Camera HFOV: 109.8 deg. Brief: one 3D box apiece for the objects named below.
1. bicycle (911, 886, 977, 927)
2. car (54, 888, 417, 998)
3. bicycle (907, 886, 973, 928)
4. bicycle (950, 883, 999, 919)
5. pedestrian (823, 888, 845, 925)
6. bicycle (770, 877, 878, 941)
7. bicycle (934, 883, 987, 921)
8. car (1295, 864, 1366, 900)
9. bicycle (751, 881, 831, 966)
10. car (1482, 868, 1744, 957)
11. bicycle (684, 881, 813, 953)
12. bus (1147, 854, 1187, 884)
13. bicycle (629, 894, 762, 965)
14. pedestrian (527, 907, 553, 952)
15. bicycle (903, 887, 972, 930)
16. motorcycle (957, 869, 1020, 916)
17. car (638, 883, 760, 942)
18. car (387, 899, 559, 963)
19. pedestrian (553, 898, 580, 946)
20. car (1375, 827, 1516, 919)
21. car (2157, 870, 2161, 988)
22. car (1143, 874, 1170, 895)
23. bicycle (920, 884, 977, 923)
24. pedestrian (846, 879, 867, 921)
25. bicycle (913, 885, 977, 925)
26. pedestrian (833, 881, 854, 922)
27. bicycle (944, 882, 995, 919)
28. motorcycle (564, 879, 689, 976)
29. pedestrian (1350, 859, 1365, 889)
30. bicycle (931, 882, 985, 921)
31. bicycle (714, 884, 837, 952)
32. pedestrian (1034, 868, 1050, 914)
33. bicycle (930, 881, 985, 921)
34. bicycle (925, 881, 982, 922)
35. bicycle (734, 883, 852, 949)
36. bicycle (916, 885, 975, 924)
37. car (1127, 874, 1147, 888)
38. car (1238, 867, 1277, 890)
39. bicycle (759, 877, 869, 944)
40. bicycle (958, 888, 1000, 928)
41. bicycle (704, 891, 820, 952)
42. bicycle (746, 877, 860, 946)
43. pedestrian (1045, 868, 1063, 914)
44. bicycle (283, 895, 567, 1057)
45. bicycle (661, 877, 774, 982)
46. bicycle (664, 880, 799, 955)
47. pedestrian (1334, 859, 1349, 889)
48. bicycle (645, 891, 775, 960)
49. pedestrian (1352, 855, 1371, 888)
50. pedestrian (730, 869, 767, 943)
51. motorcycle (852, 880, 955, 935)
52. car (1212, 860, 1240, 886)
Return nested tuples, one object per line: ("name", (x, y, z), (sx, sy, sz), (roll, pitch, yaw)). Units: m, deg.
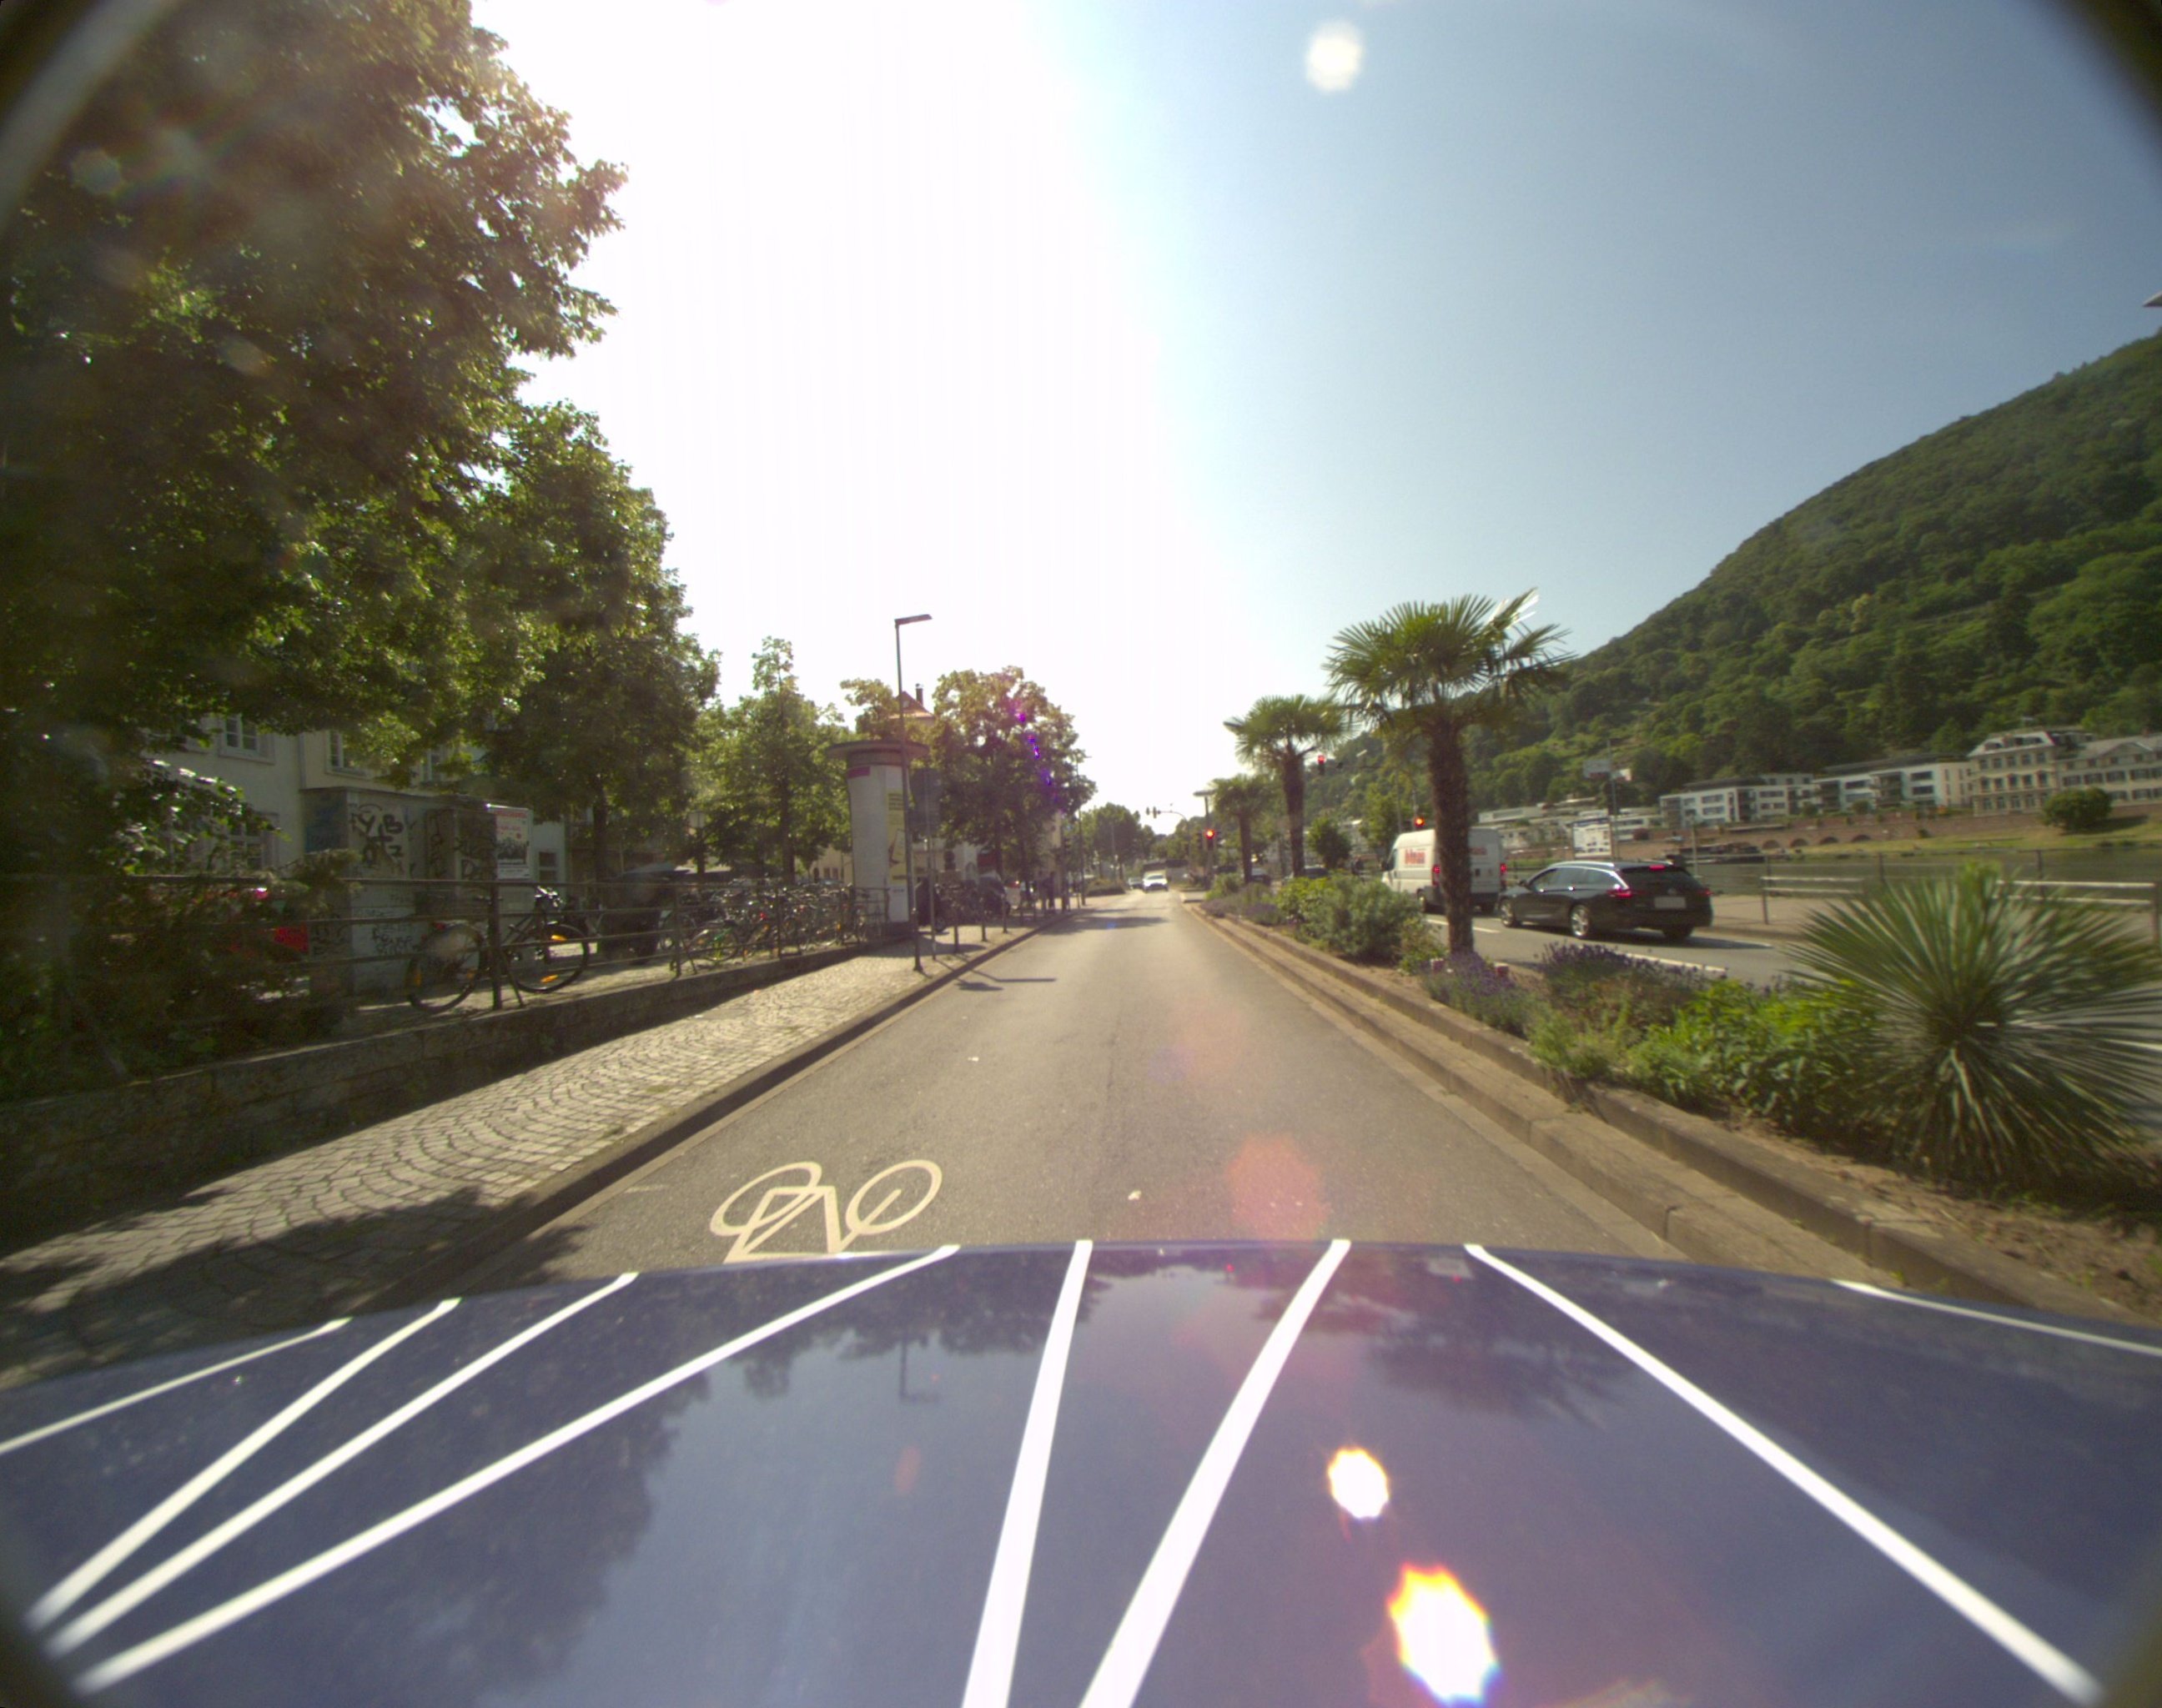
("bicycle", (-3.851, 1.461, 21.401), (1.753, 1.126, 0.464), (0, -1, -1))
("car", (-16.394, 1.627, 15.238), (1.836, 1.789, 4.739), (-2, -3, 3))
("bicycle", (-3.882, 1.464, 20.993), (1.753, 1.126, 0.464), (0, -1, -1))
("bicycle", (-3.527, 1.542, 25.116), (1.629, 1.163, 0.367), (-2, -1, 21))
("pedestrian", (-8.748, 1.859, 26.895), (0.493, 1.256, 0.580), (-2, -1, 8))
("bicycle", (-5.617, 1.195, 16.654), (2.160, 1.360, 0.584), (-1, 0, 3))
("bicycle", (-3.832, 1.522, 24.165), (1.631, 1.163, 0.350), (0, -1, -1))
("car", (11.542, 1.247, 35.460), (1.998, 1.443, 4.263), (-4, -1, 3))
("bicycle", (-4.792, 1.099, 12.700), (0.476, 1.254, 2.163), (-1, -1, 1))
("car", (10.248, 1.028, 15.258), (1.998, 1.410, 4.922), (-2, -1, 4))
("bicycle", (-6.010, 1.135, 13.756), (2.160, 1.254, 0.421), (-1, 0, 3))
("bus", (10.538, 1.892, 94.004), (2.657, 3.367, 10.791), (-2, -1, -5))
("bicycle", (-6.232, 1.210, 12.313), (1.954, 1.093, 0.423), (-1, 0, 3))
("pedestrian", (-18.616, 2.592, 26.136), (0.425, 1.467, 0.615), (-2, 0, -5))
("bicycle", (-3.838, 1.456, 20.431), (1.753, 1.126, 0.540), (0, -1, -4))
("motorcycle", (-3.236, 1.337, 26.349), (2.196, 1.518, 0.800), (-3, -1, 39))
("car", (-13.633, 2.047, 27.465), (1.838, 1.780, 4.464), (-6, -3, 3))
("car", (-16.001, 1.970, 20.246), (1.587, 1.469, 3.563), (-2, -3, 3))
("pedestrian", (-17.797, 2.336, 26.303), (0.425, 1.602, 0.628), (-2, 0, 4))
("car", (10.939, 0.552, 23.271), (2.200, 2.511, 4.750), (0, -1, 3))
("car", (9.318, 0.795, 3.998), (1.661, 1.428, 4.083), (-3, -1, 5))
("car", (5.884, 2.383, 59.374), (1.998, 1.497, 4.594), (-3, -2, 5))
("bicycle", (-3.930, 1.472, 22.576), (1.631, 1.126, 0.413), (0, -1, -1))
("pedestrian", (-8.122, 1.663, 27.533), (0.493, 1.499, 0.667), (-2, -1, 3))
("bicycle", (-3.892, 1.459, 21.838), (1.753, 1.126, 0.464), (0, -1, -1))
("pedestrian", (-8.601, 1.714, 27.511), (0.493, 1.451, 0.580), (-2, -1, 8))
("bicycle", (-3.637, 1.526, 24.827), (1.629, 1.163, 0.425), (-2, -1, 21))
("motorcycle", (-6.725, 1.036, 11.207), (2.156, 1.305, 0.650), (-1, -1, 32))
("pedestrian", (16.407, 1.181, 45.097), (0.593, 1.741, 0.503), (-2, -1, 1))
("bicycle", (-3.862, 1.495, 23.861), (1.631, 1.210, 0.413), (0, -1, -1))
("bicycle", (-5.845, 1.223, 14.576), (2.160, 1.254, 0.477), (-1, 0, 3))
("pedestrian", (-1.544, 1.463, 30.093), (0.541, 1.767, 0.582), (-2, -1, 1))
("bicycle", (-3.812, 1.433, 23.425), (1.631, 1.210, 0.413), (0, -1, -1))
("bicycle", (-3.856, 1.434, 23.006), (1.631, 1.210, 0.413), (0, -1, -1))
("bicycle", (-5.699, 1.228, 15.075), (2.160, 1.254, 0.477), (-1, 0, 3))
("bicycle", (-3.946, 1.469, 22.143), (1.631, 1.126, 0.413), (0, -1, -1))
("car", (6.387, 3.075, 87.083), (1.998, 1.497, 4.592), (0, -1, 1))
("car", (12.391, 1.702, 53.565), (1.998, 1.449, 4.646), (-3, -1, 5))
("bicycle", (-5.654, 1.187, 16.112), (2.160, 1.360, 0.477), (-1, 0, 3))
("bicycle", (-2.873, 1.512, 21.547), (0.539, 1.002, 1.756), (-3, -1, 14))
("bicycle", (-5.927, 1.256, 14.147), (2.028, 1.085, 0.338), (-1, -1, 3))
("bicycle", (-5.689, 1.181, 15.606), (2.160, 1.360, 0.477), (-1, 0, 3))
("pedestrian", (-1.054, 1.438, 29.598), (0.541, 1.767, 0.583), (-2, -1, 8))
("bicycle", (-5.125, 0.877, 6.174), (0.301, 1.042, 2.164), (-1, -2, 4))
("bicycle", (-4.920, 0.962, 10.446), (0.476, 1.254, 2.163), (-1, -1, 1))
("bicycle", (-6.097, 1.107, 13.295), (2.160, 1.254, 0.477), (-1, 0, 3))
("pedestrian", (15.469, 1.203, 45.097), (0.593, 1.741, 0.781), (-2, -1, 1))
("bicycle", (-6.219, 1.189, 12.782), (1.967, 1.105, 0.477), (-1, 0, 3))
("pedestrian", (16.002, 0.994, 43.424), (0.794, 1.845, 0.580), (-2, -1, 1))
("pedestrian", (-8.090, 1.248, 18.485), (0.541, 1.734, 0.502), (-4, -1, 5))
("motorcycle", (-4.398, 1.328, 18.777), (2.531, 1.267, 0.725), (-3, -1, 26))
("car", (12.803, 1.644, 67.486), (1.869, 2.136, 5.025), (-3, -1, 5))
